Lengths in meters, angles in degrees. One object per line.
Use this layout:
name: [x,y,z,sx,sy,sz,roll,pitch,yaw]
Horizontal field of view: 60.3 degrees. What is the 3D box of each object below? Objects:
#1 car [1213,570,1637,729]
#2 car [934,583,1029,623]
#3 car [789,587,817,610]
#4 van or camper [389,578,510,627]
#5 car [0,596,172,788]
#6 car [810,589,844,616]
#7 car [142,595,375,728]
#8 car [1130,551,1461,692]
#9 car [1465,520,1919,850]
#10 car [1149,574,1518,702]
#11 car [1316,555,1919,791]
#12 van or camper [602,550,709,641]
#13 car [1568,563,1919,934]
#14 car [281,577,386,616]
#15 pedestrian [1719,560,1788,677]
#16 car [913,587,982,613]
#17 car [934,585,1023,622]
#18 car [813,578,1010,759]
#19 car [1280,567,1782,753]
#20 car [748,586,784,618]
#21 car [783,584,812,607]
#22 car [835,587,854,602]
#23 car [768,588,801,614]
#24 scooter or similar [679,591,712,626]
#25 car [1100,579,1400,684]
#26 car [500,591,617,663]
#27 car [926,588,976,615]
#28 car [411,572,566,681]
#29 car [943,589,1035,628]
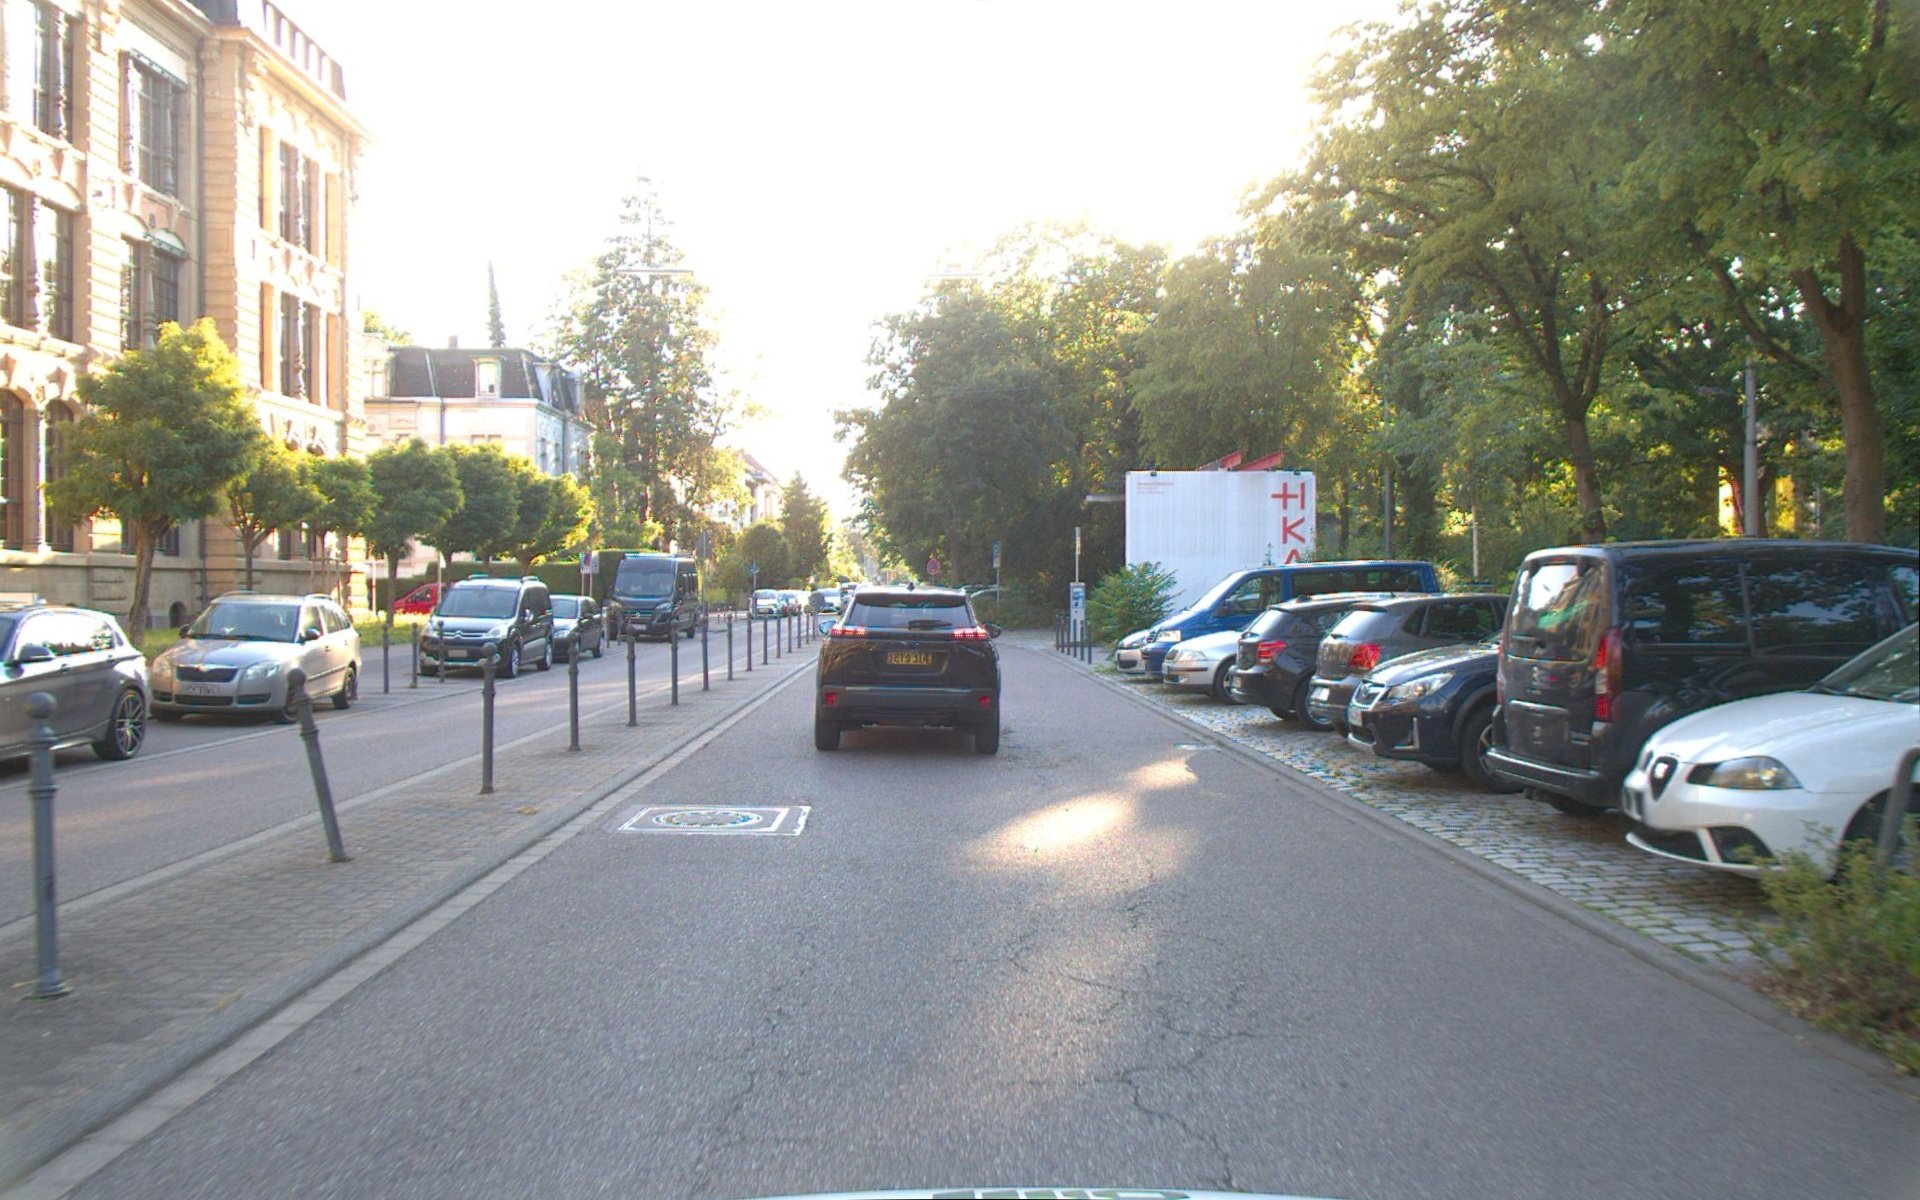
car: [5.234,0.533,19.006,4.275,1.564,1.920,-2,0,-2]
car: [0.884,0.116,69.384,3.906,1.581,1.725,-1,2,-2]
car: [-10.730,-0.100,113.114,1.581,1.492,4.035,-1,0,-1]
van or camper: [-22.562,0.094,73.201,4.670,2.020,2.001,0,5,0]
car: [-8.519,0.740,14.124,1.585,1.522,4.376,0,0,-2]
car: [-7.733,0.145,96.467,1.706,1.483,4.622,-1,0,-2]
car: [-8.929,0.707,21.435,1.686,1.522,4.369,0,0,-8]
car: [5.213,0.316,26.119,4.755,1.949,1.915,-2,0,-2]
car: [5.664,0.430,10.501,4.275,1.811,1.920,-2,0,-2]
car: [5.280,0.515,23.802,4.828,1.581,1.915,-2,0,-2]
car: [5.221,0.526,13.216,4.275,1.581,1.875,-2,0,-2]
van or camper: [-9.346,-0.137,51.344,2.185,2.589,7.077,1,0,-2]
car: [5.491,0.586,8.212,4.275,1.581,1.727,-2,0,-2]
car: [-27.707,-0.148,73.188,3.906,1.703,1.920,0,0,-2]
pedestrian: [12.450,0.281,25.960,0.651,1.803,0.785,0,1,-6]
car: [-0.771,-0.032,102.479,4.159,1.474,2.020,-2,0,-4]
car: [0.809,0.139,74.485,3.906,1.581,1.752,-1,2,-2]
car: [-0.477,0.586,16.852,1.736,1.595,4.108,1,1,-1]
car: [5.539,0.544,16.416,4.275,1.564,1.920,-2,0,-2]
car: [-10.137,0.101,86.586,1.582,1.541,3.709,-2,0,-3]
car: [-10.609,-0.289,108.274,1.581,1.492,4.035,-1,0,-1]
car: [-12.239,-0.573,175.183,1.861,1.601,3.999,0,0,-2]
car: [-10.307,0.057,97.155,1.581,1.492,4.035,-1,0,-1]
scooter or similar: [-9.814,0.303,61.503,0.423,1.297,1.340,0,0,33]
car: [4.994,0.522,28.890,4.828,1.581,1.915,-2,0,-2]
car: [-9.091,0.573,37.724,1.661,1.496,3.854,2,0,0]
car: [-0.761,0.125,134.370,3.910,2.126,1.755,0,0,-7]
car: [-8.981,0.456,31.849,1.741,1.898,4.331,2,0,-1]
car: [1.221,0.346,71.791,3.906,1.581,1.725,-1,2,-2]
